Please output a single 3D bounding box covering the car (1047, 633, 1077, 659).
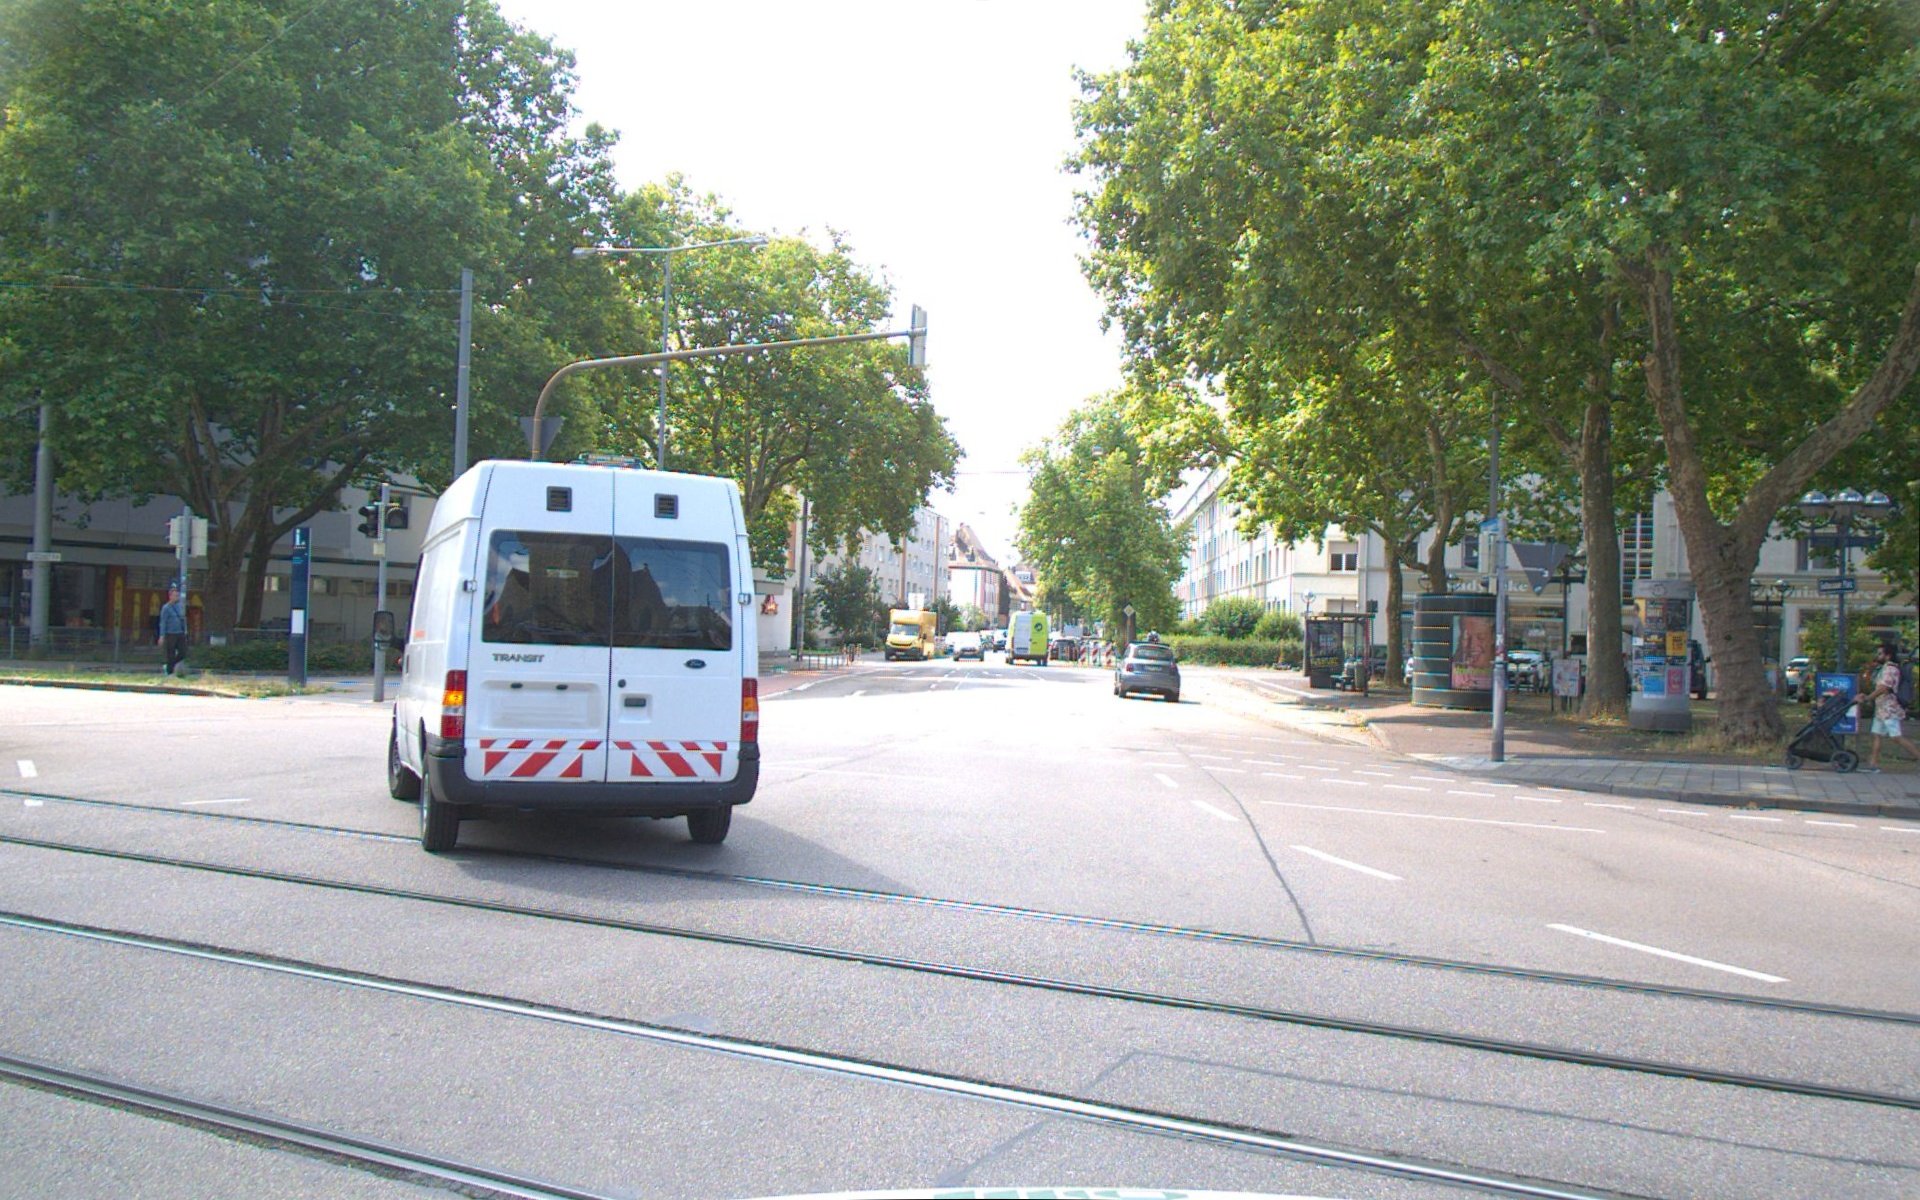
[{"bbox_3d":[6.307,2.837,102.539,1.689,1.582,3.634,1,-1,2],"label":"car"}]

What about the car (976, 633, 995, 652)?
[{"bbox_3d":[2.489,4.137,161.676,1.625,1.690,3.751,2,-1,4],"label":"car"}]

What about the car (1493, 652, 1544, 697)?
[{"bbox_3d":[18.746,2.466,55.589,1.434,1.413,3.068,1,-1,16],"label":"car"}]

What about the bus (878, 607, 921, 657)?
[{"bbox_3d":[-3.513,1.900,97.191,2.345,2.756,6.368,2,-1,-1],"label":"bus"}]

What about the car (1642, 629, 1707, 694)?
[{"bbox_3d":[24.950,2.126,57.710,1.954,2.112,3.997,1,-1,25],"label":"car"}]

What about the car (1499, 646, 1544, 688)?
[{"bbox_3d":[20.125,2.387,59.323,1.435,1.413,3.237,1,-1,18],"label":"car"}]

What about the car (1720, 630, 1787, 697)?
[{"bbox_3d":[26.995,2.154,56.352,1.954,2.112,3.997,1,-1,25],"label":"car"}]

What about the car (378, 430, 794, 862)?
[{"bbox_3d":[-2.852,0.285,11.651,2.019,2.374,4.680,2,-1,-23],"label":"car"}]

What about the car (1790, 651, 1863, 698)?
[{"bbox_3d":[29.108,2.468,55.632,1.954,1.447,3.997,1,-1,25],"label":"car"}]

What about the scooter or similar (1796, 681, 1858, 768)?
[{"bbox_3d":[11.304,1.614,21.581,0.692,1.075,0.490,1,-1,26],"label":"scooter or similar"}]

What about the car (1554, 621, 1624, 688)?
[{"bbox_3d":[22.226,1.914,58.363,1.954,2.221,4.254,1,-1,25],"label":"car"}]

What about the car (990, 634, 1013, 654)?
[{"bbox_3d":[3.703,3.870,146.645,1.823,1.690,3.751,2,-1,4],"label":"car"}]

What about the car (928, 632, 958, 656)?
[{"bbox_3d":[-1.173,3.022,114.569,1.807,1.590,4.001,1,-1,3],"label":"car"}]

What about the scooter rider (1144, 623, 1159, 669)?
[{"bbox_3d":[7.783,1.848,67.220,0.515,1.844,0.649,2,-1,0],"label":"scooter rider"}]

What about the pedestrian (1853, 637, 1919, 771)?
[{"bbox_3d":[12.006,1.323,21.226,0.902,1.674,0.569,1,-1,26],"label":"pedestrian"}]

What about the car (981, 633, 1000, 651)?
[{"bbox_3d":[3.140,4.300,168.687,1.665,1.690,3.751,2,-1,4],"label":"car"}]

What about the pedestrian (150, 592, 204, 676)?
[{"bbox_3d":[-15.537,0.665,32.811,0.766,1.627,0.535,1,-1,22],"label":"pedestrian"}]

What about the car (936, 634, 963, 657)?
[{"bbox_3d":[-0.803,3.502,128.131,1.692,1.690,3.751,2,-1,4],"label":"car"}]

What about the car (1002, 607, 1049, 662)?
[{"bbox_3d":[3.323,1.736,85.206,2.076,2.687,6.327,2,-1,0],"label":"car"}]

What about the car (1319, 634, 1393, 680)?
[{"bbox_3d":[14.958,2.140,62.309,1.987,1.628,4.537,1,-1,23],"label":"car"}]

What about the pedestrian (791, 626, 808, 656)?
[{"bbox_3d":[-8.087,2.071,83.237,0.655,1.505,0.576,2,-1,9],"label":"pedestrian"}]

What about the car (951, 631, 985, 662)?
[{"bbox_3d":[0.472,2.688,95.679,1.749,1.690,4.317,2,-1,3],"label":"car"}]

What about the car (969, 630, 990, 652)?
[{"bbox_3d":[1.838,3.815,153.764,1.617,1.966,3.751,2,-1,4],"label":"car"}]

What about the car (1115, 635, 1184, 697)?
[{"bbox_3d":[5.253,1.821,46.231,1.656,1.565,3.469,1,0,3],"label":"car"}]
